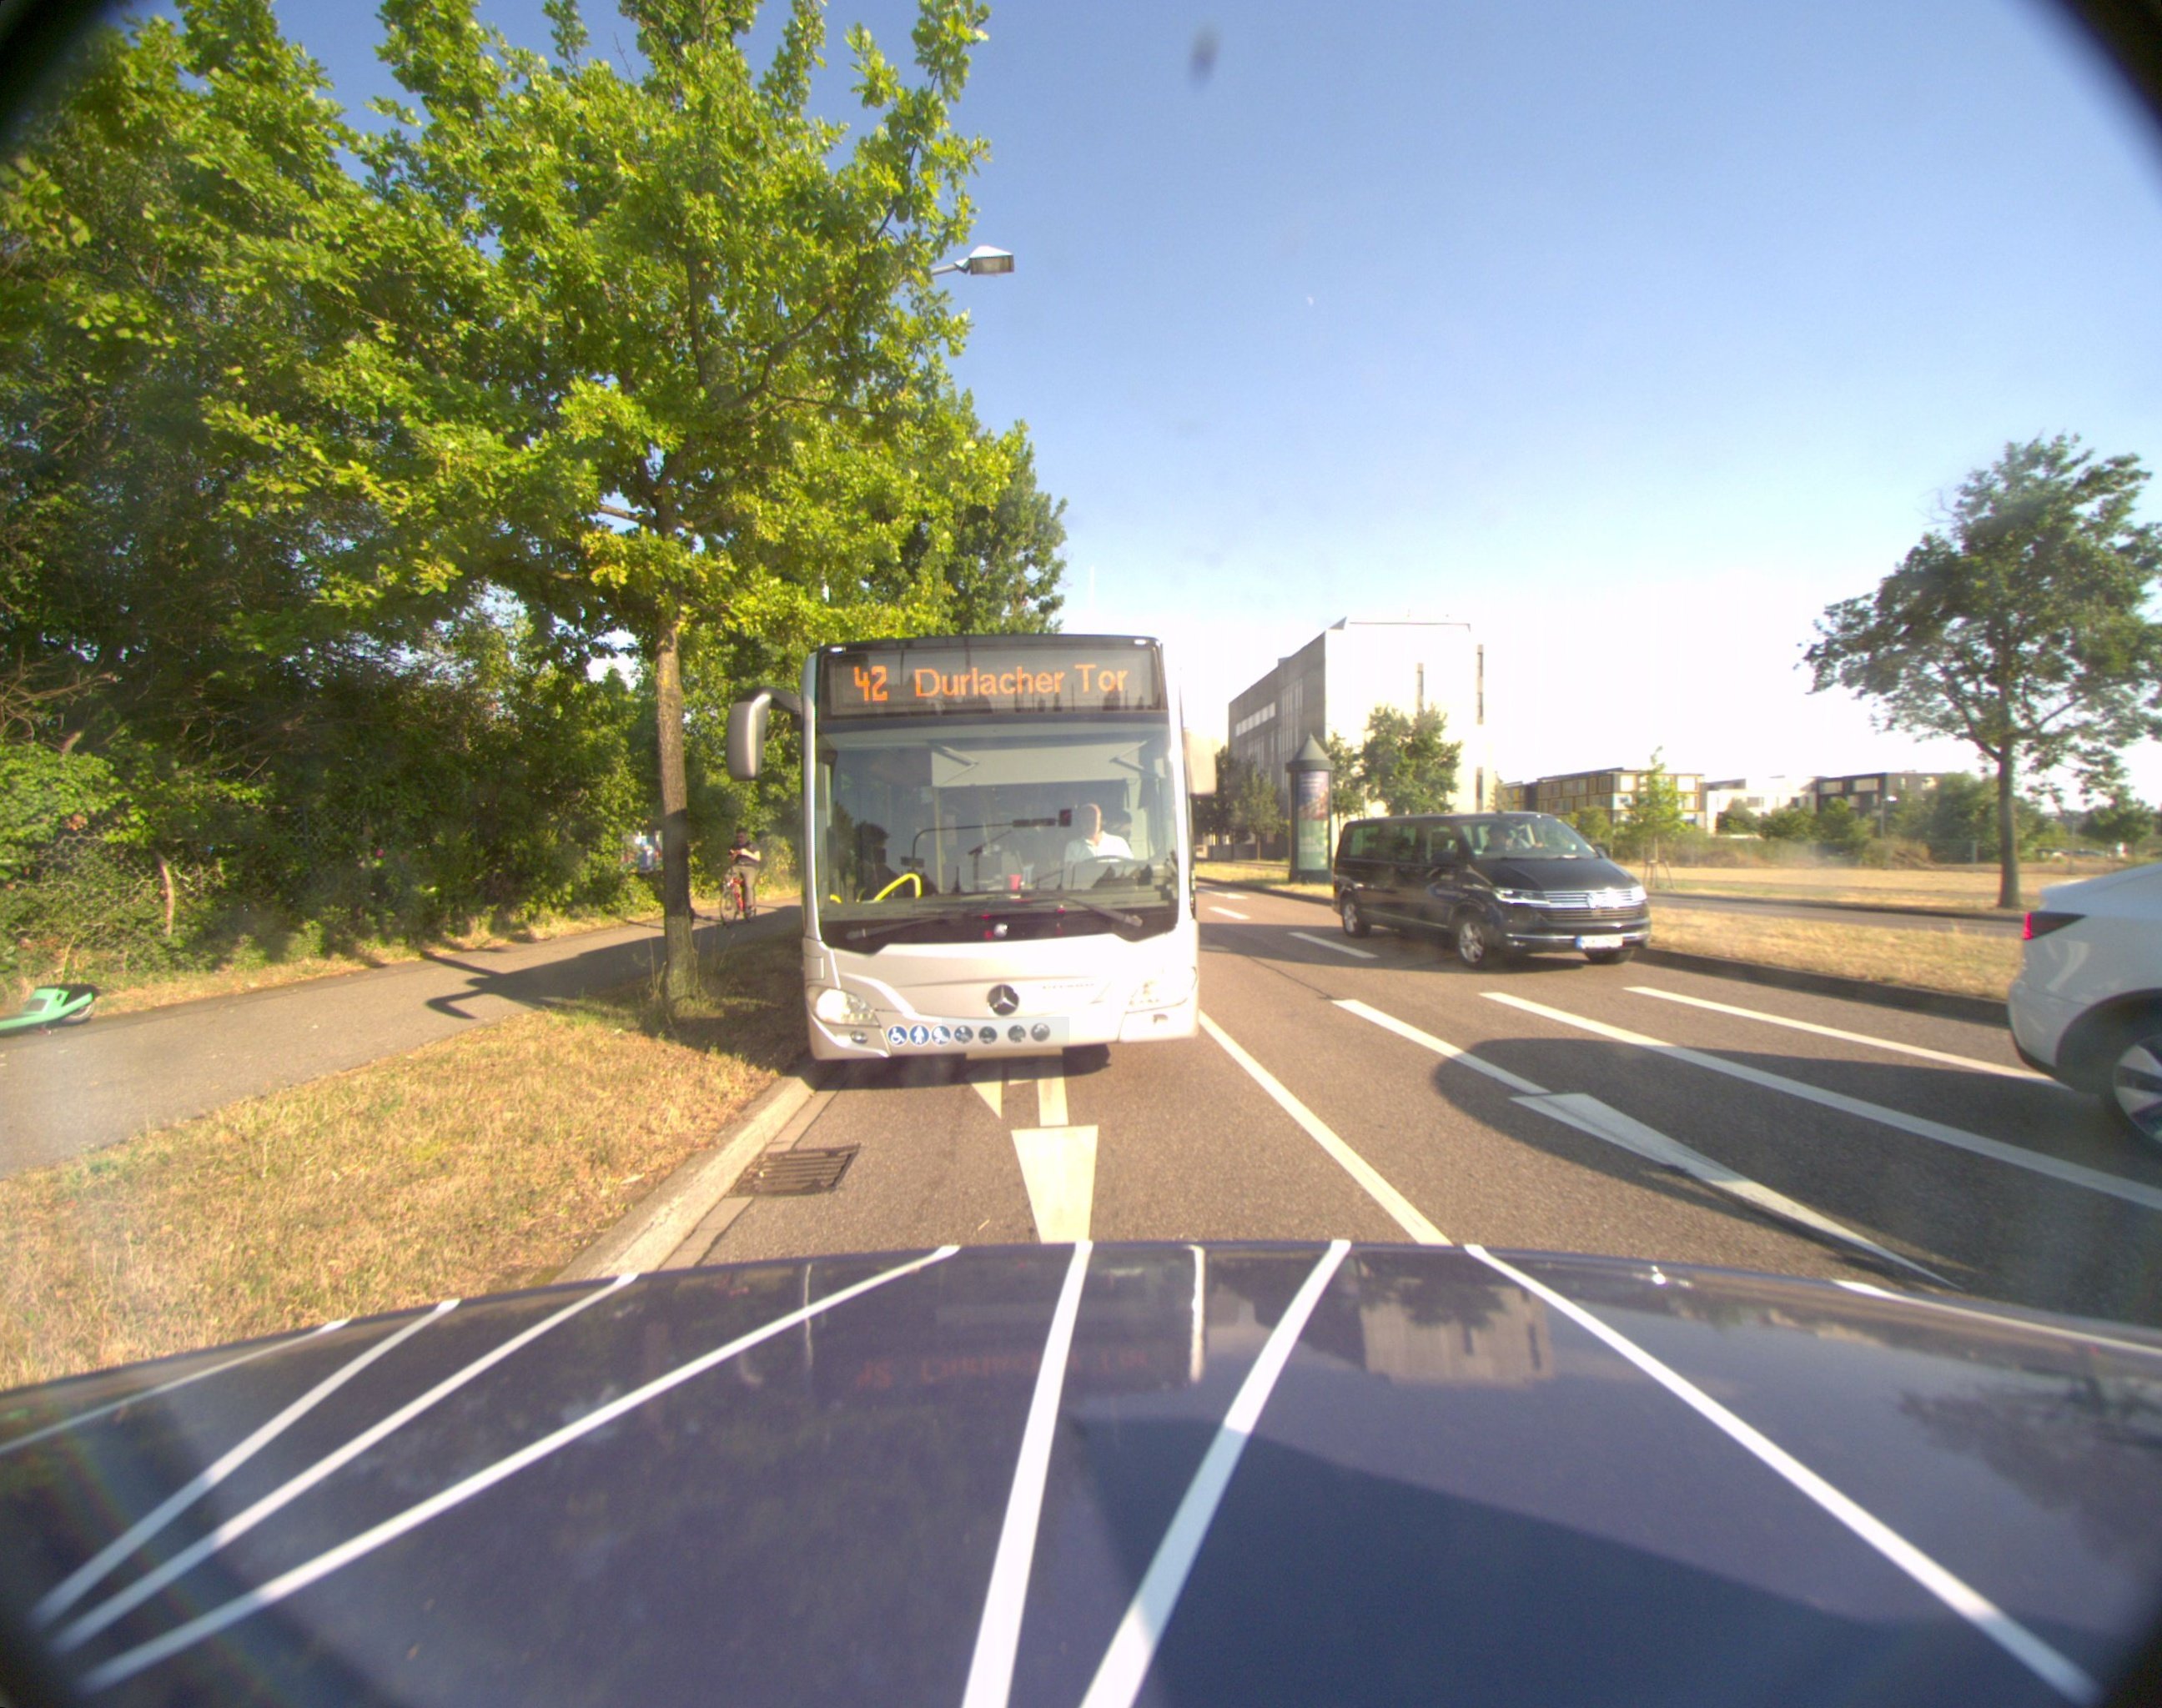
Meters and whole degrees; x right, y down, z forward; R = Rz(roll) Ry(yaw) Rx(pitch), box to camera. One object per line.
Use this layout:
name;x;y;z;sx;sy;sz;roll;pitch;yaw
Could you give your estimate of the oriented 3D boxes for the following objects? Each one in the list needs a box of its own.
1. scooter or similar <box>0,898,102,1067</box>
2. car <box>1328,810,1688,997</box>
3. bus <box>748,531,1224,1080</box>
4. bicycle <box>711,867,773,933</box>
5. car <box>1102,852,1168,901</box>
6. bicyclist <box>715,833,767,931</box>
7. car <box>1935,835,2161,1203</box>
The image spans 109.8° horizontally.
scooter or similar;-7.546;0.901;5.198;0.249;1.120;1.095;2;1;1
car;5.369;0.493;10.561;1.861;1.921;5.010;-2;1;-4
bus;-0.979;-0.314;10.138;2.596;3.025;11.713;-1;0;-5
bicycle;-6.502;0.848;14.656;0.416;1.151;1.890;2;0;-3
car;1.661;0.656;24.630;1.810;1.428;4.493;-1;0;0
bicyclist;-6.539;0.519;14.625;0.620;1.819;0.830;1;1;-2
car;5.665;0.711;1.855;1.740;1.590;4.675;-2;0;-4
